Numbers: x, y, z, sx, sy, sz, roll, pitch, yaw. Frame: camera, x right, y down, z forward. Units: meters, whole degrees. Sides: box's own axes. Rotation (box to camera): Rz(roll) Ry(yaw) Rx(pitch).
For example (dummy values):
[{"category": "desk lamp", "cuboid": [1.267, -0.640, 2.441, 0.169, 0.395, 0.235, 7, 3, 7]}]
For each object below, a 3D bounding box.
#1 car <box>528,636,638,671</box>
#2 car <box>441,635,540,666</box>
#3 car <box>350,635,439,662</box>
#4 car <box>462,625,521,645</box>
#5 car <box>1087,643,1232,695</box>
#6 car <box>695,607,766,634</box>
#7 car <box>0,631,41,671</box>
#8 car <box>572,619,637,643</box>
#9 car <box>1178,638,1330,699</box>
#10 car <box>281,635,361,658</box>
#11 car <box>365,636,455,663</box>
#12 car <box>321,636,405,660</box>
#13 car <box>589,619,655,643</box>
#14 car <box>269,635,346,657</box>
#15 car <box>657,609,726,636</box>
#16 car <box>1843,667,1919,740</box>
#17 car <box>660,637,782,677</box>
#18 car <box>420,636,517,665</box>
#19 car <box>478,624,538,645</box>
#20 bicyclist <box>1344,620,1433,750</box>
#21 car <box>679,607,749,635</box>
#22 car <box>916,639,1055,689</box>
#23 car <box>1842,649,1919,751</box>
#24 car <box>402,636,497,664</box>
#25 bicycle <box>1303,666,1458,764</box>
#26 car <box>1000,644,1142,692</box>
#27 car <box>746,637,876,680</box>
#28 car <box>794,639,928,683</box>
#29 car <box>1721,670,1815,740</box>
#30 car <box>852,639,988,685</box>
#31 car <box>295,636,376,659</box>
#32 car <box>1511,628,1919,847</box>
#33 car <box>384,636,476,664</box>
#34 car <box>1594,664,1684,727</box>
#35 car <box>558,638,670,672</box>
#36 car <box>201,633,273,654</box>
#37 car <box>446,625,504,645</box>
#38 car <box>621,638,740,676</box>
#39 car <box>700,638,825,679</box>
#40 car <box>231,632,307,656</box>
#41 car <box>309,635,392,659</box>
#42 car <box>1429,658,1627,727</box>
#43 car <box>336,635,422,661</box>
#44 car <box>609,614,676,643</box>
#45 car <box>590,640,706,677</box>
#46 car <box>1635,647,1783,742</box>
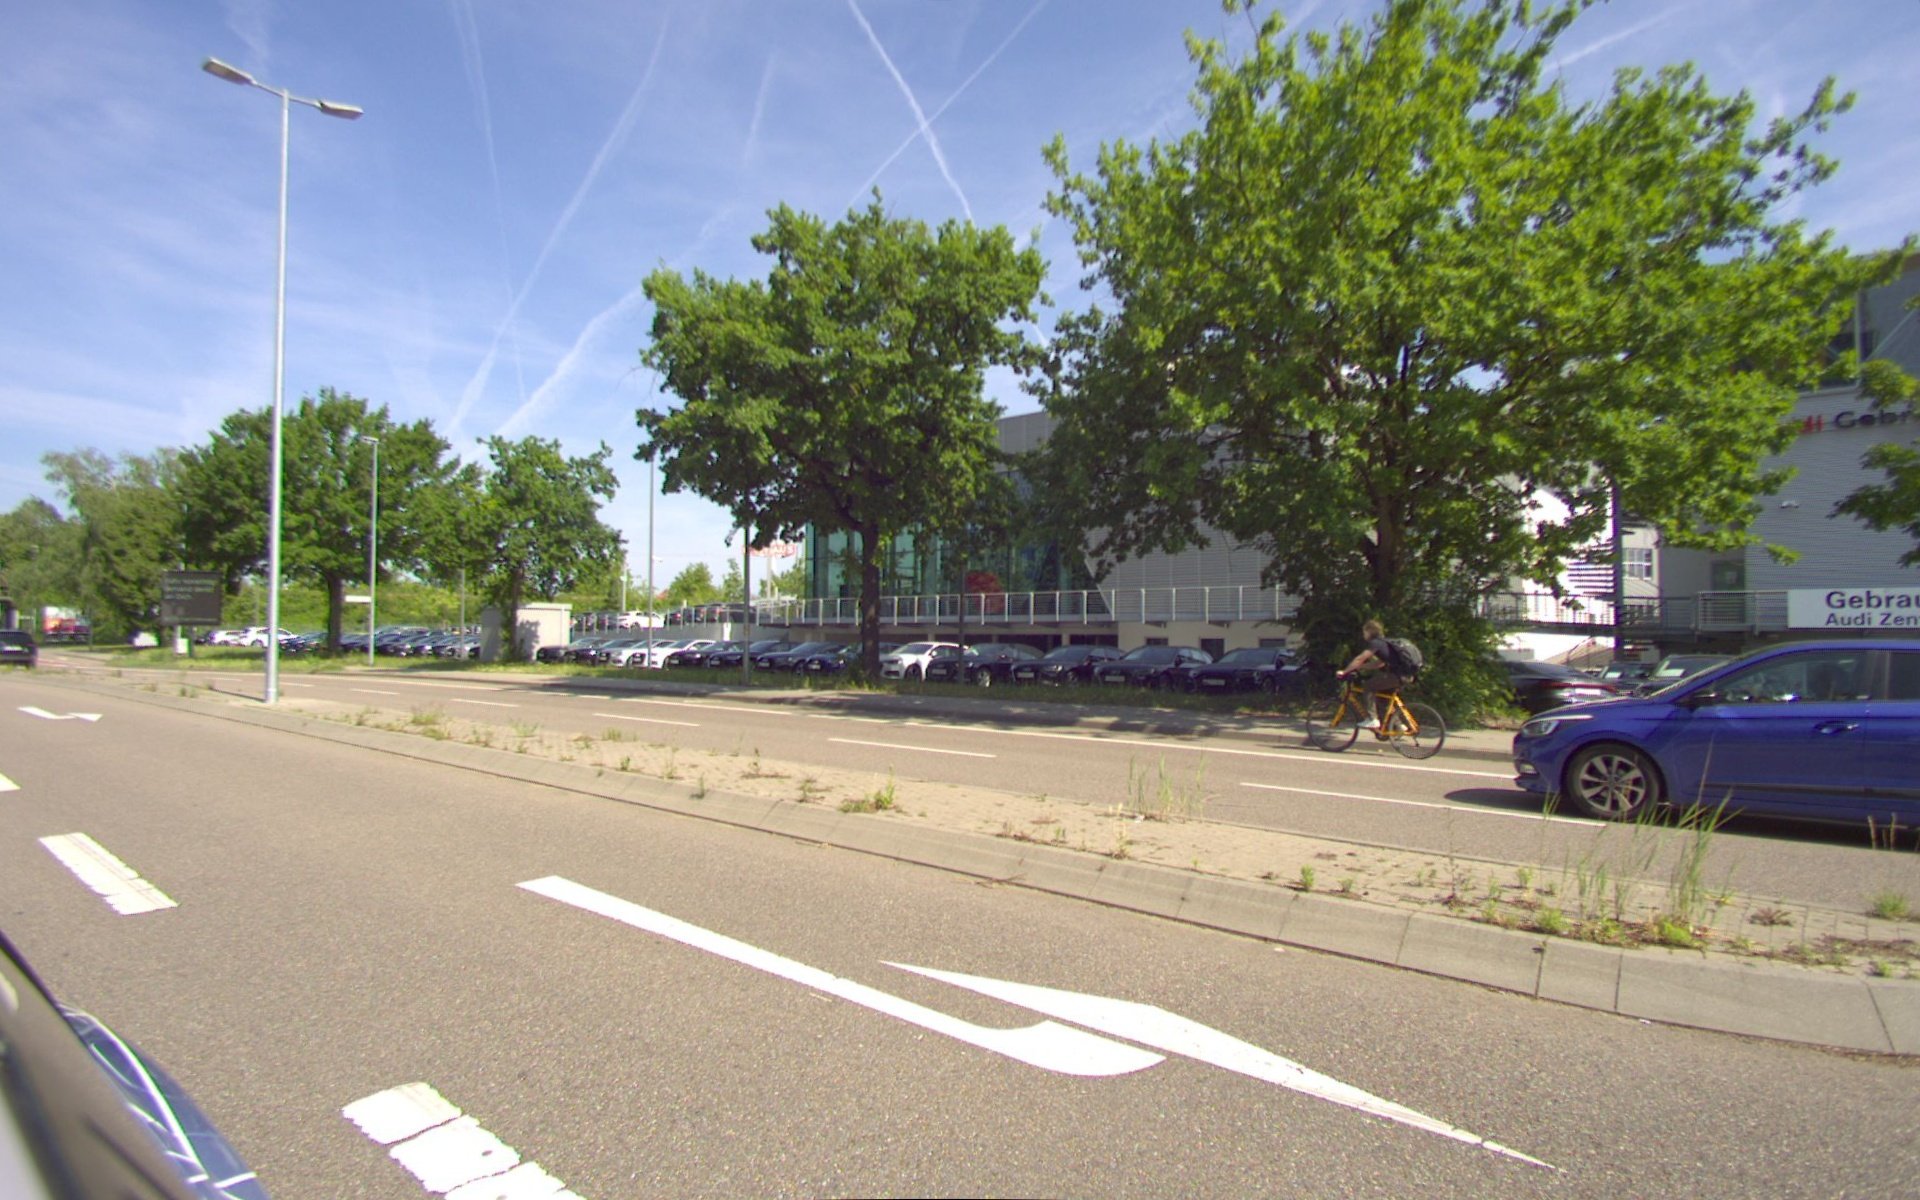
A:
[{"category": "car", "cuboid": [-16.400, 2.352, 44.201, 1.689, 1.333, 4.141, -2, -6, 42]}, {"category": "car", "cuboid": [-23.479, 2.550, 50.742, 1.689, 1.333, 4.141, -2, -6, 42]}, {"category": "car", "cuboid": [-33.037, 2.851, 59.191, 1.689, 1.333, 4.141, -2, -6, 42]}, {"category": "car", "cuboid": [-39.692, 2.970, 85.731, 1.689, 1.511, 4.141, -2, -6, 42]}, {"category": "car", "cuboid": [5.057, 1.747, 25.338, 1.695, 1.143, 4.141, -2, -6, 42]}, {"category": "car", "cuboid": [-14.353, 1.308, 63.464, 1.689, 1.416, 4.141, -2, -6, 42]}, {"category": "car", "cuboid": [-38.325, 2.032, 40.252, 3.992, 1.523, 1.845, -2, -4, 36]}, {"category": "car", "cuboid": [-25.887, 2.309, 73.836, 1.689, 1.511, 4.141, -2, -6, 42]}, {"category": "car", "cuboid": [6.935, 1.627, 23.618, 1.796, 1.236, 4.141, -2, -6, 42]}, {"category": "car", "cuboid": [-42.931, 3.160, 68.047, 1.689, 1.333, 4.142, -2, -6, 42]}, {"category": "car", "cuboid": [-31.184, 2.809, 57.466, 1.689, 1.333, 4.141, -2, -6, 42]}, {"category": "car", "cuboid": [-37.093, 3.000, 62.984, 1.689, 1.333, 4.141, -2, -6, 42]}, {"category": "car", "cuboid": [-24.121, 2.239, 72.314, 1.689, 1.511, 4.141, -2, -6, 42]}, {"category": "car", "cuboid": [-45.016, 3.186, 69.901, 1.689, 1.333, 4.141, -2, -6, 42]}, {"category": "car", "cuboid": [-17.905, 1.503, 67.550, 1.689, 1.511, 4.141, -2, -6, 42]}, {"category": "car", "cuboid": [21.877, 2.363, 23.619, 1.803, 1.484, 3.778, -2, -3, 40]}, {"category": "car", "cuboid": [-8.798, 2.122, 37.466, 1.689, 1.309, 4.141, -2, -6, 42]}, {"category": "car", "cuboid": [-25.391, 2.628, 52.420, 1.689, 1.333, 4.141, -2, -6, 42]}, {"category": "car", "cuboid": [-37.619, 2.911, 84.248, 1.689, 1.511, 4.141, -2, -6, 42]}, {"category": "bicyclist", "cuboid": [5.533, 1.085, 13.076, 0.910, 1.609, 0.570, -2, -5, 44]}, {"category": "car", "cuboid": [-15.908, 1.405, 65.685, 1.689, 1.511, 4.141, -2, -6, 42]}, {"category": "car", "cuboid": [0.796, 1.854, 28.990, 1.689, 1.256, 4.141, -2, -6, 42]}, {"category": "car", "cuboid": [14.798, 1.560, 15.513, 1.801, 1.405, 4.172, -2, -6, 40]}, {"category": "car", "cuboid": [-27.101, 2.672, 53.825, 1.689, 1.333, 4.141, -2, -6, 42]}, {"category": "bicycle", "cuboid": [5.431, 1.455, 13.150, 1.770, 1.159, 0.565, -2, -5, 44]}, {"category": "car", "cuboid": [3.070, 1.847, 27.252, 1.719, 1.131, 4.141, -2, -6, 42]}, {"category": "car", "cuboid": [-4.915, 1.981, 33.808, 1.689, 1.264, 4.141, -2, -6, 42]}, {"category": "car", "cuboid": [-3.074, 1.946, 32.077, 1.689, 1.215, 4.141, -2, -6, 42]}, {"category": "car", "cuboid": [20.083, 2.541, 25.160, 1.688, 1.484, 3.779, -2, -3, 39]}, {"category": "car", "cuboid": [-1.150, 1.898, 30.553, 1.689, 1.204, 4.141, -2, -6, 42]}, {"category": "car", "cuboid": [-40.991, 3.133, 66.470, 1.689, 1.333, 4.141, -2, -6, 42]}, {"category": "car", "cuboid": [6.529, 0.975, 7.684, 3.866, 1.449, 1.710, -2, -5, 40]}, {"category": "car", "cuboid": [-29.197, 2.765, 55.824, 1.689, 1.333, 4.141, -2, -6, 42]}, {"category": "car", "cuboid": [18.150, 2.485, 26.991, 1.688, 1.448, 3.780, -2, -3, 38]}, {"category": "car", "cuboid": [-14.507, 2.335, 42.617, 1.689, 1.256, 4.141, -2, -6, 42]}, {"category": "car", "cuboid": [-55.586, 3.333, 77.872, 1.689, 1.389, 4.141, -2, -6, 42]}, {"category": "car", "cuboid": [-42.251, 3.093, 88.205, 1.689, 1.511, 4.141, -2, -6, 42]}, {"category": "car", "cuboid": [-10.790, 2.230, 39.268, 1.689, 1.265, 4.141, -2, -6, 42]}, {"category": "car", "cuboid": [-6.893, 2.069, 35.639, 1.689, 1.269, 4.141, -2, -6, 42]}, {"category": "car", "cuboid": [-49.674, 3.178, 72.815, 1.689, 1.511, 4.141, -2, -6, 42]}, {"category": "car", "cuboid": [-39.023, 3.045, 64.858, 1.689, 1.333, 4.141, -2, -6, 42]}, {"category": "car", "cuboid": [12.293, 1.969, 22.222, 1.662, 1.343, 3.848, 1, -3, -11]}, {"category": "car", "cuboid": [-35.173, 2.920, 61.331, 1.689, 1.333, 4.141, -2, -6, 42]}, {"category": "car", "cuboid": [-22.118, 2.028, 70.576, 1.689, 1.745, 4.141, -2, -6, 42]}, {"category": "car", "cuboid": [-12.555, 2.384, 40.898, 1.689, 1.335, 4.141, -2, -6, 42]}, {"category": "car", "cuboid": [12.858, 1.606, 17.286, 1.807, 1.413, 3.984, -2, -6, 40]}]
